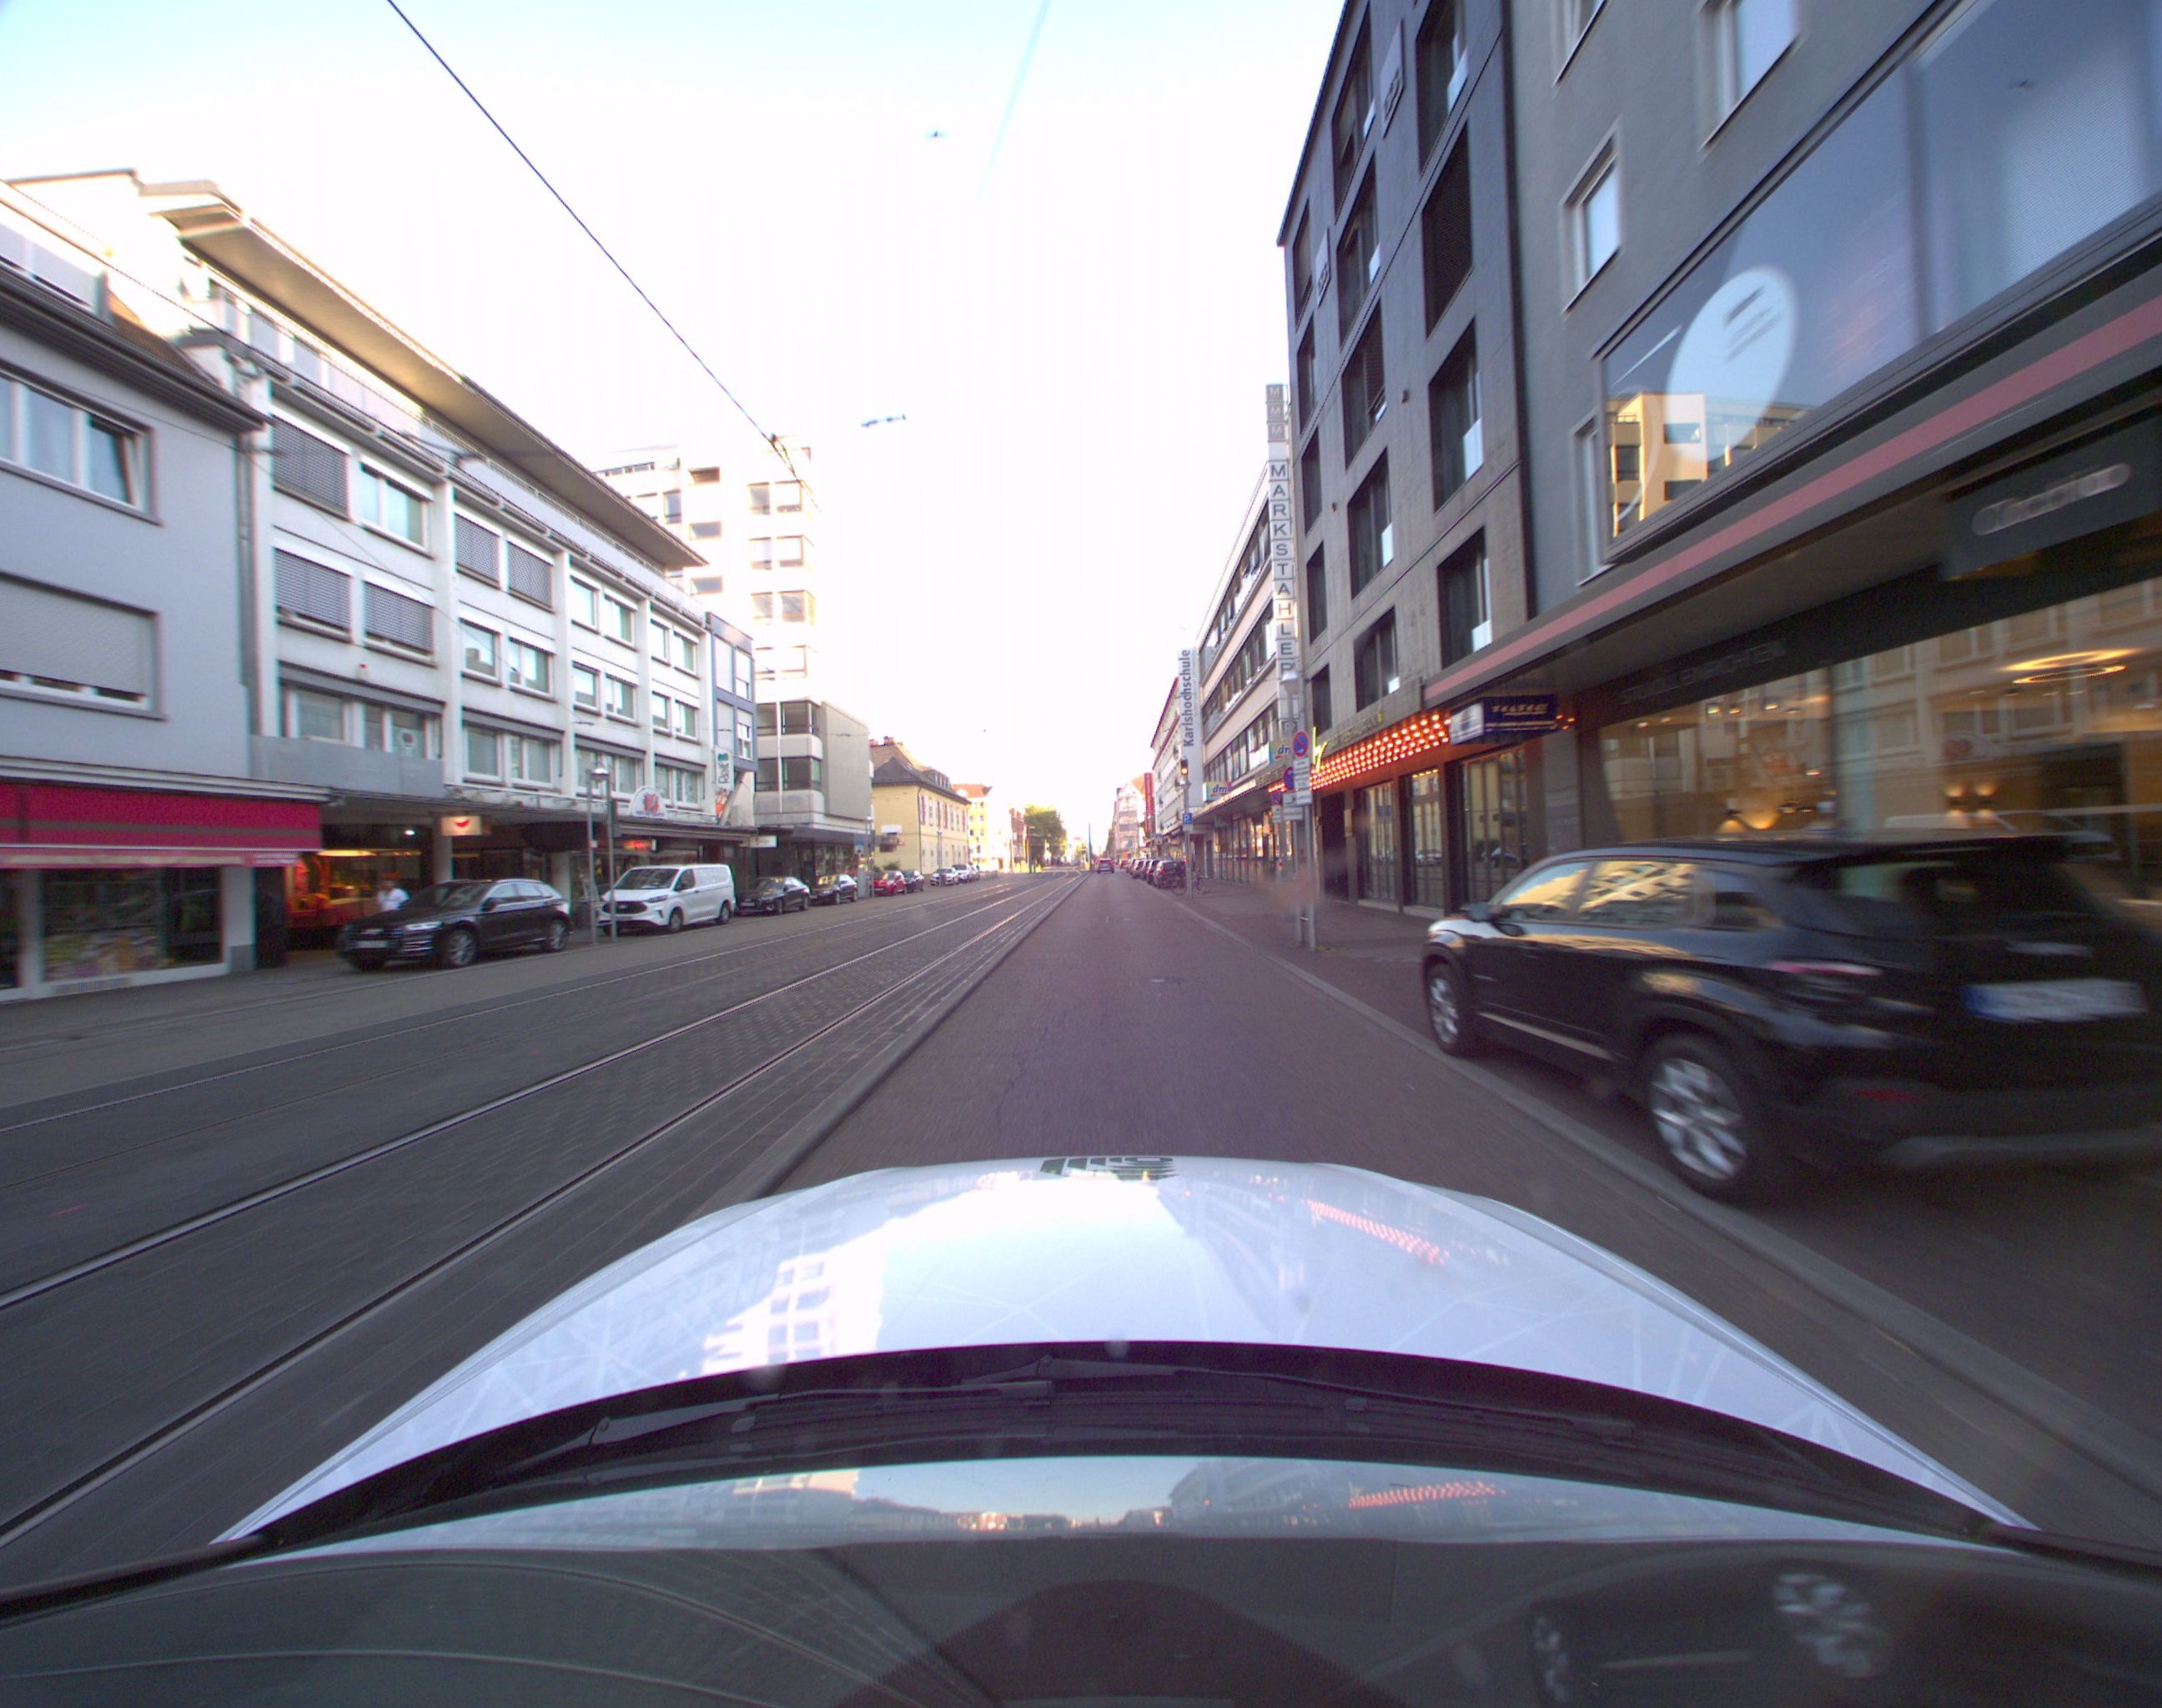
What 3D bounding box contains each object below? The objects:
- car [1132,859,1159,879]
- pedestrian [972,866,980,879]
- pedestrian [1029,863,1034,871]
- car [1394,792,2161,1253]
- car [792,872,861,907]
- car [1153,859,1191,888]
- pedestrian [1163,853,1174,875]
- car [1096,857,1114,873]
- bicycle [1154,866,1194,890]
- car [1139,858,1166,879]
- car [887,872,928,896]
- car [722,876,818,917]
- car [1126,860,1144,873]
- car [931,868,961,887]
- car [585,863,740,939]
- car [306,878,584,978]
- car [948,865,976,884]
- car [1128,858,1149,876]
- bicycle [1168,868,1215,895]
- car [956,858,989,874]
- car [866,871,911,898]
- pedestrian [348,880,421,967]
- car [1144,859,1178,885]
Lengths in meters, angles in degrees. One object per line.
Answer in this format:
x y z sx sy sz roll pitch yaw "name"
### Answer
5.114 1.200 64.918 1.785 1.533 4.856 -1 -1 1 "car"
-12.588 2.218 97.687 0.796 1.542 0.878 -1 -1 3 "pedestrian"
-8.566 2.188 141.201 0.900 1.375 0.853 -2 -1 -1 "pedestrian"
3.459 0.603 4.795 1.734 1.541 3.966 -2 -1 1 "car"
-11.944 1.633 38.483 1.783 1.460 4.093 -3 -1 2 "car"
4.710 1.002 42.711 1.648 1.463 4.024 -1 -1 2 "car"
7.592 0.855 70.384 0.772 1.880 0.934 -3 -1 0 "pedestrian"
2.786 1.309 92.933 1.828 1.636 4.093 -4 -2 3 "car"
4.488 1.170 39.455 1.834 1.110 0.642 -2 -1 -2 "bicycle"
5.171 1.077 59.208 1.719 1.481 4.001 -1 -1 2 "car"
-11.268 1.915 53.093 1.685 1.425 3.966 0 0 2 "car"
-12.057 1.627 31.918 1.865 1.427 4.572 -1 -1 2 "car"
6.012 1.356 91.064 1.783 1.413 4.688 -1 -1 1 "car"
-11.102 1.893 67.157 1.715 1.453 4.284 -1 -1 1 "car"
-12.309 1.308 24.421 1.957 2.014 5.099 -1 -1 1 "car"
-12.644 1.380 16.685 1.986 1.697 4.589 -1 -1 1 "car"
-10.659 1.828 73.351 1.881 1.661 4.759 -1 -1 0 "car"
5.625 1.244 79.706 1.849 1.701 4.418 -1 -1 1 "car"
4.568 1.131 33.659 1.790 0.972 0.575 -4 -1 -2 "bicycle"
-14.320 1.609 107.559 3.994 2.014 1.990 -2 -1 -15 "car"
-11.338 1.757 48.106 1.685 1.434 3.593 -2 -1 1 "car"
-14.761 1.448 17.290 0.814 1.782 0.818 -1 -1 1 "pedestrian"
4.845 1.068 49.884 1.758 1.513 4.073 -1 -1 2 "car"
